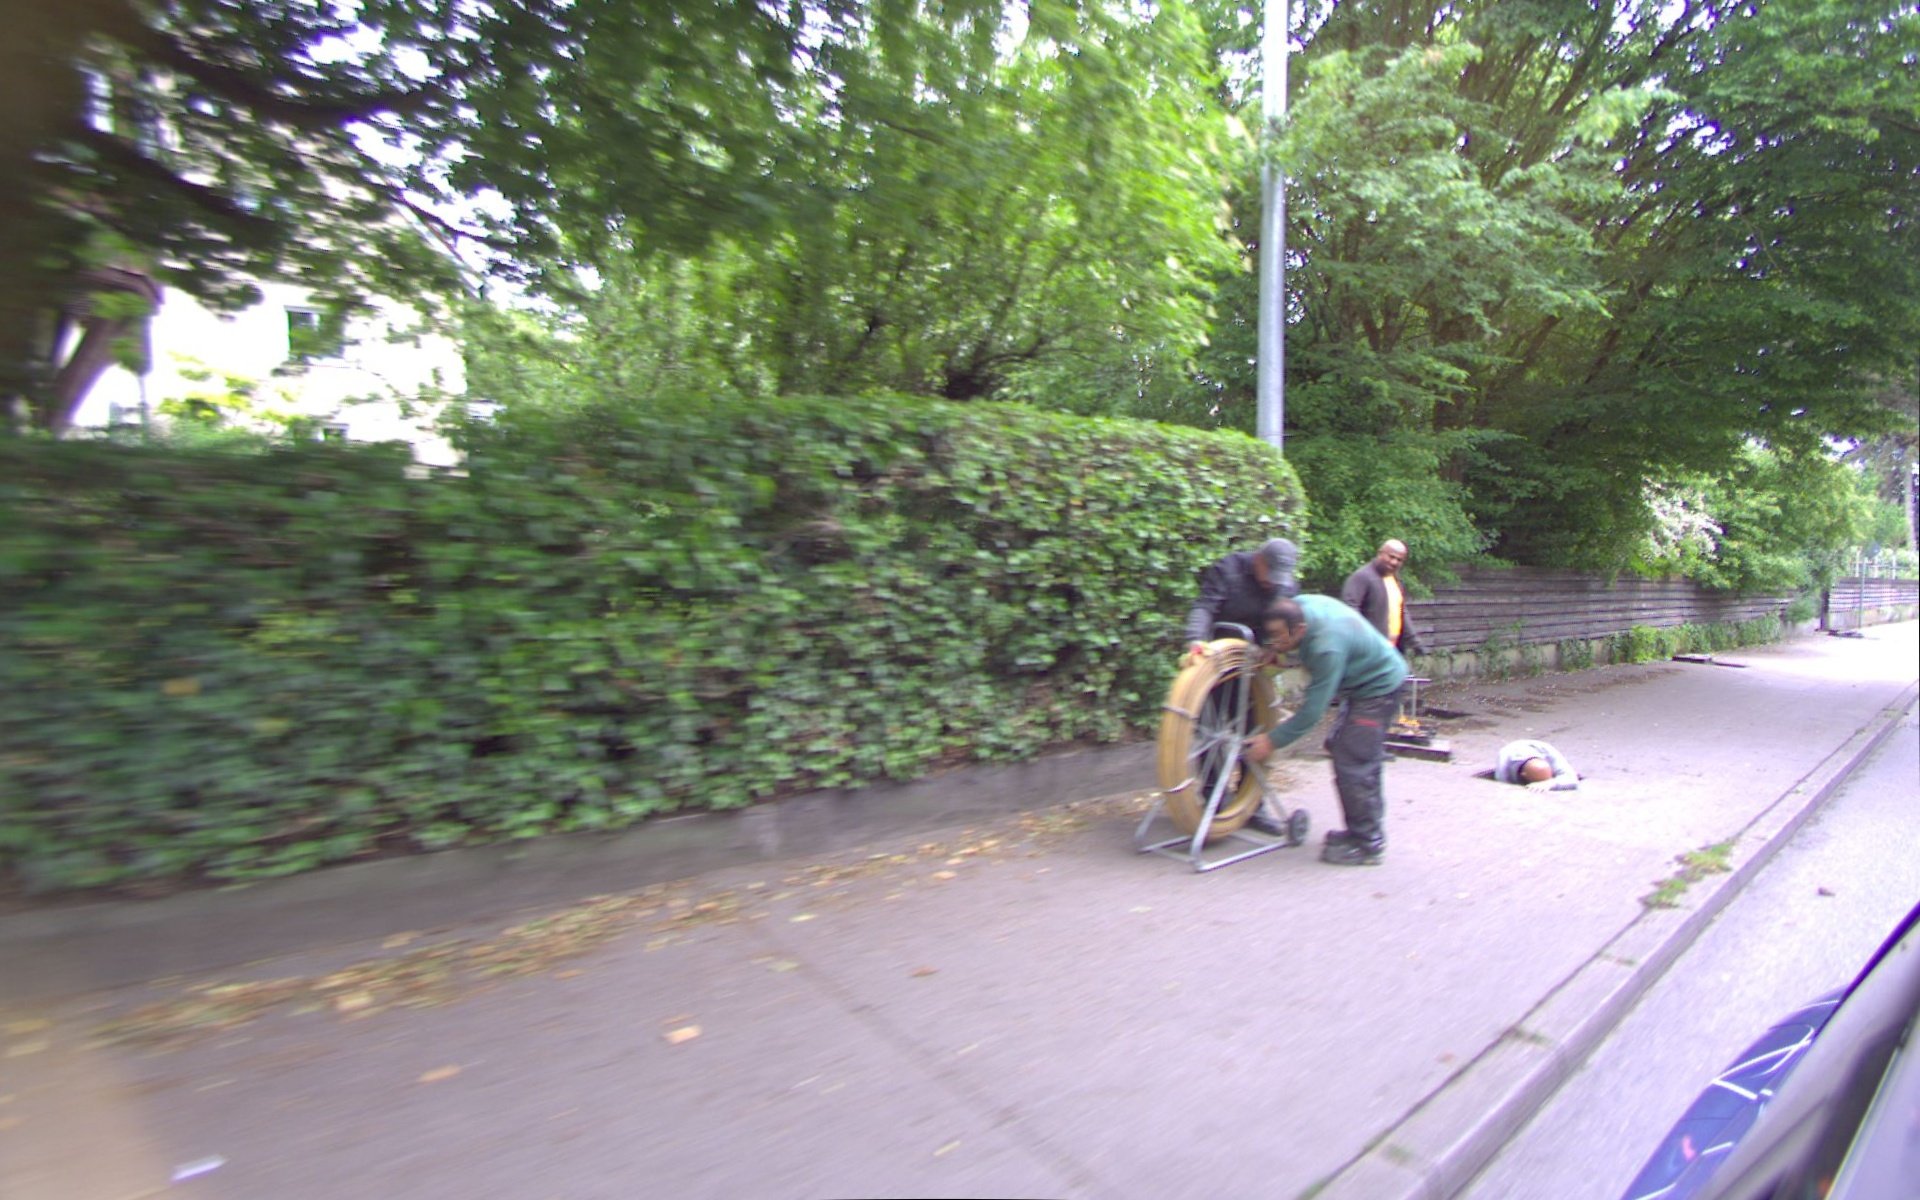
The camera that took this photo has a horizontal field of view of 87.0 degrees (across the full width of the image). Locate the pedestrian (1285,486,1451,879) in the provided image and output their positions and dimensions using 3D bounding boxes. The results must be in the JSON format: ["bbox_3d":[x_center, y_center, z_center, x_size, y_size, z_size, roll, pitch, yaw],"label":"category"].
[{"bbox_3d":[2.003,0.382,5.033,0.508,1.829,0.602,1,1,-2],"label":"pedestrian"}]

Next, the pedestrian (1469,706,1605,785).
[{"bbox_3d":[4.204,1.041,7.373,0.728,0.398,0.673,0,2,-43],"label":"pedestrian"}]

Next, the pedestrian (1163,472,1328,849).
[{"bbox_3d":[1.462,0.281,5.291,0.679,1.829,0.672,1,1,7],"label":"pedestrian"}]

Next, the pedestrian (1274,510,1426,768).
[{"bbox_3d":[2.971,0.261,7.714,0.728,1.829,0.808,0,2,-43],"label":"pedestrian"}]
